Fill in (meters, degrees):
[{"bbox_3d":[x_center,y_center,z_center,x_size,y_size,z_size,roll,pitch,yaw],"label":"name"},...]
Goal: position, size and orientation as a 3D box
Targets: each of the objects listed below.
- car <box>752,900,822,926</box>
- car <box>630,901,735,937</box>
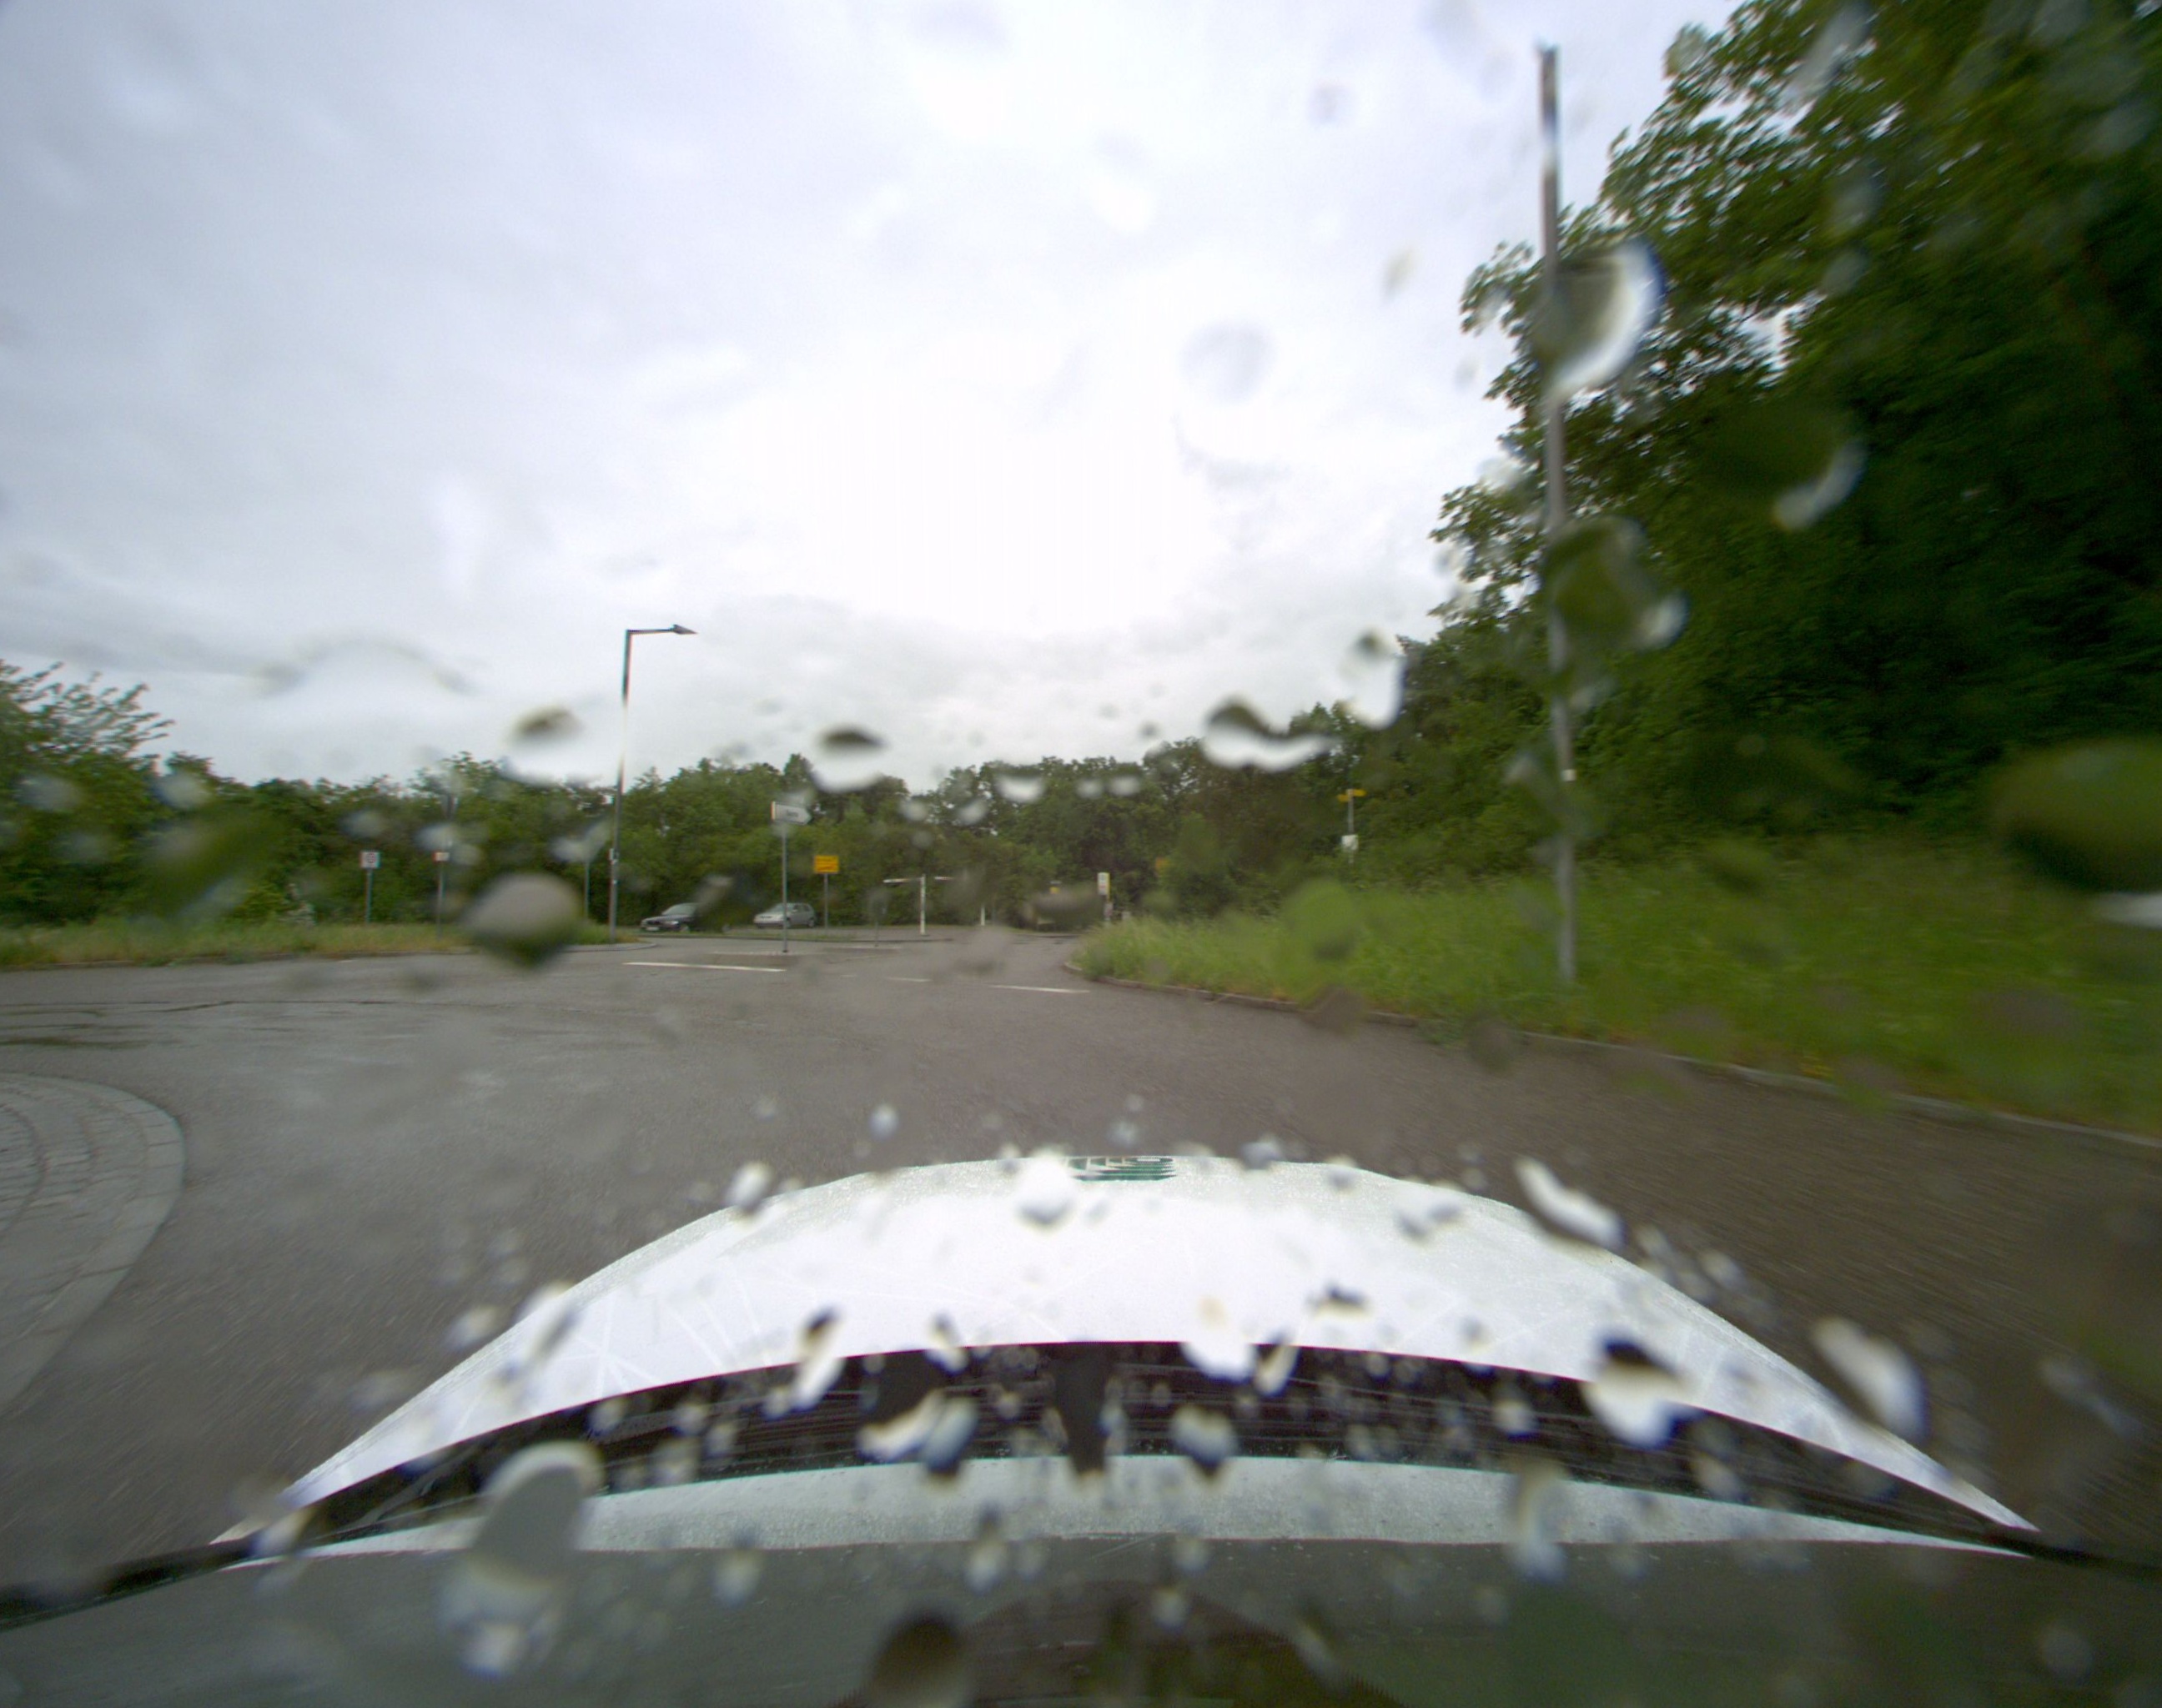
[{"bbox_3d":[-16.024,3.229,44.616,1.591,1.356,4.134,-1,-5,12],"label":"car"},{"bbox_3d":[-15.953,2.631,32.865,1.610,1.356,4.199,0,-5,10],"label":"car"}]
